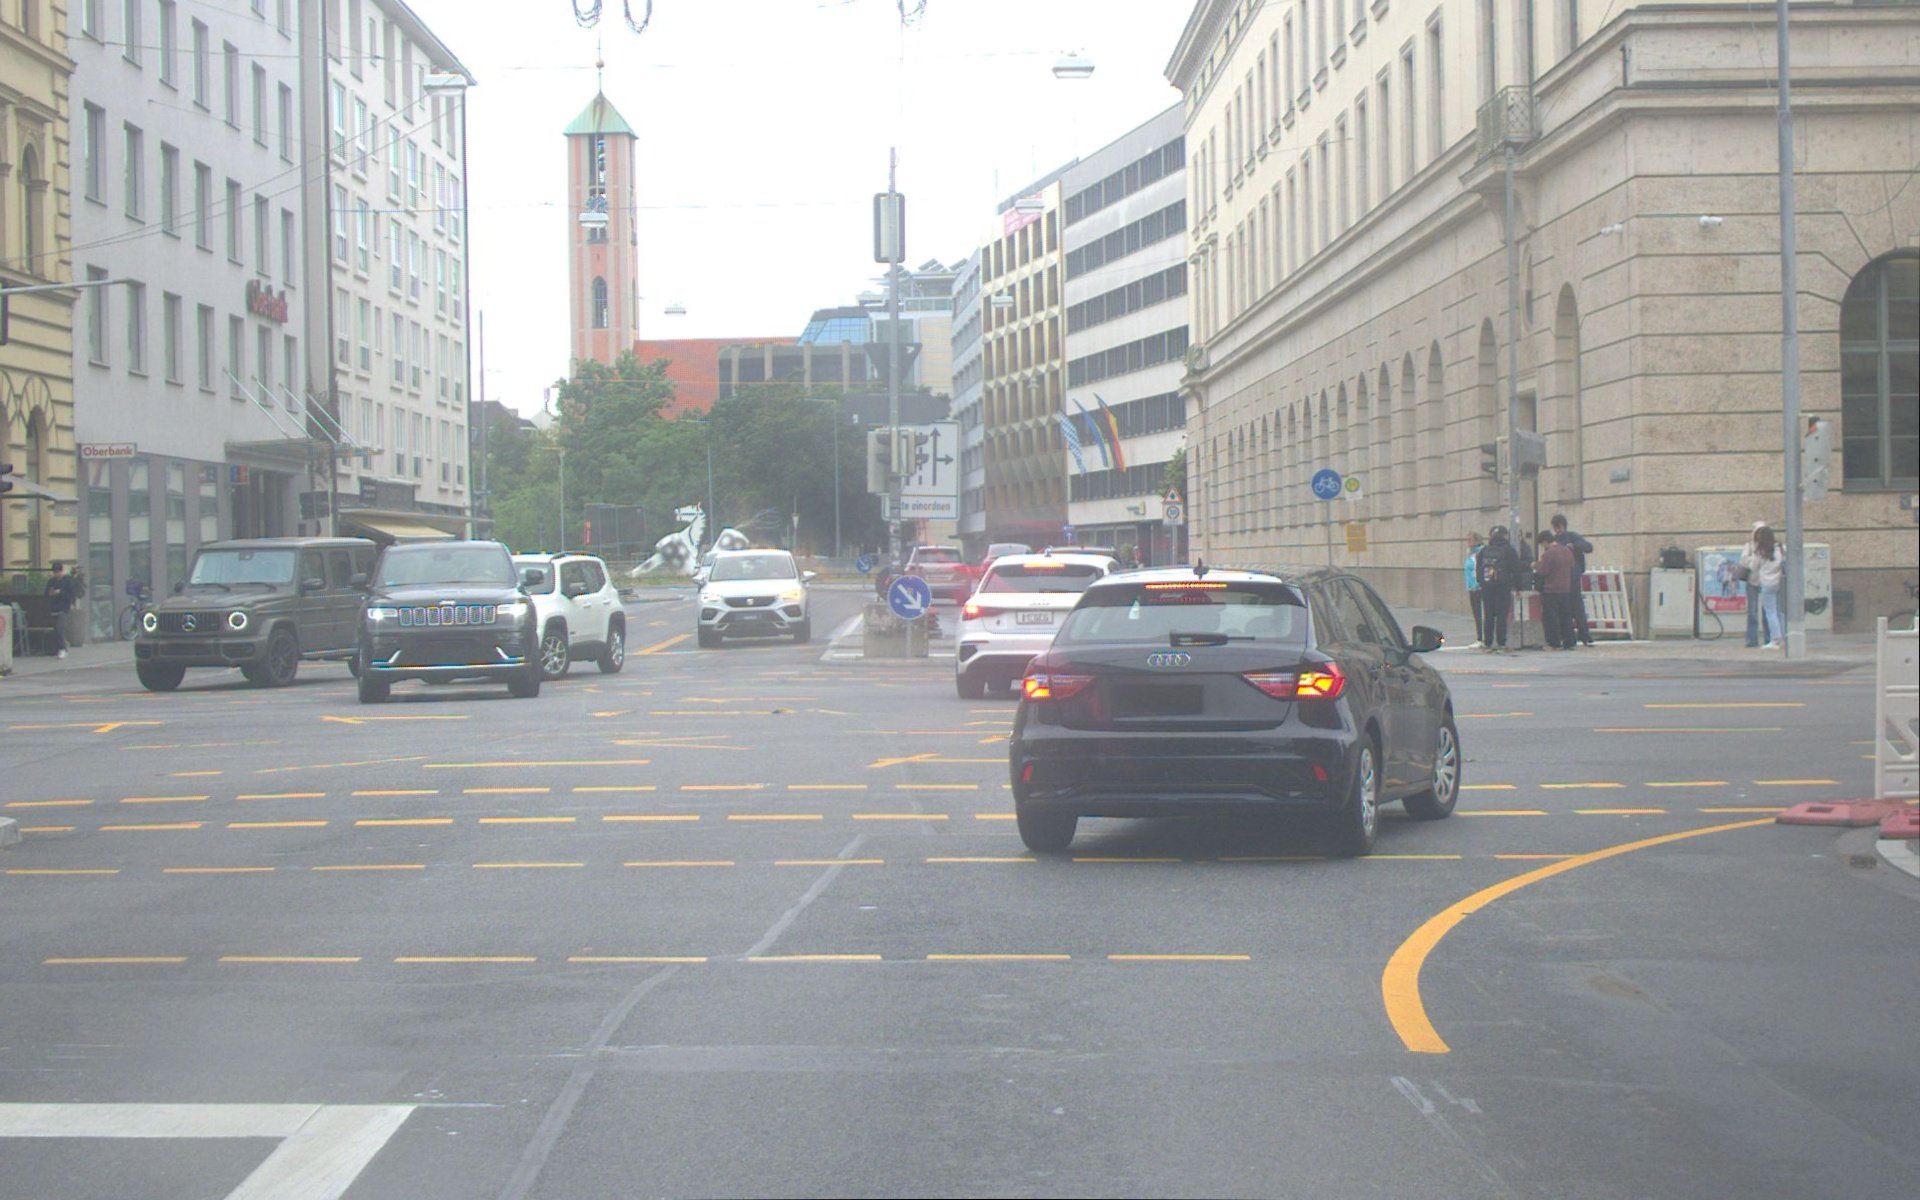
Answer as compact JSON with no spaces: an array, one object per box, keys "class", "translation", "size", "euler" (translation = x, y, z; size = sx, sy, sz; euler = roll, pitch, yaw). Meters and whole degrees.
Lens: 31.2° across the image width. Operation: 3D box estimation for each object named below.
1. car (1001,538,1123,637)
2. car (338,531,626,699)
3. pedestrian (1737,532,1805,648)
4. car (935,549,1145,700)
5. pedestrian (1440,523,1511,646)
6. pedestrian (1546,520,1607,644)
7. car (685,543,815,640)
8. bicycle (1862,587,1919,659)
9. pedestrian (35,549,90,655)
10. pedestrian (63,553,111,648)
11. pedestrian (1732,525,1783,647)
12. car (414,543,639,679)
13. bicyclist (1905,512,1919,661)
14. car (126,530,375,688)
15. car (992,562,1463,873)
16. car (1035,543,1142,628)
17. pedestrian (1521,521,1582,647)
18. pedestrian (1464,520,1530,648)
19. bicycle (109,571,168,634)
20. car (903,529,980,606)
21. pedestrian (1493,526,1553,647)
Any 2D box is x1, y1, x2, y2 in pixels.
[{"class":"car","translation":[1.698,-0.246,58.522],"size":[1.865,1.596,3.851],"euler":[-1,1,-1]},{"class":"car","translation":[-5.236,0.117,38.308],"size":[1.995,1.728,4.584],"euler":[-1,1,8]},{"class":"pedestrian","translation":[10.978,-0.141,46.573],"size":[0.817,1.552,0.667],"euler":[0,1,7]},{"class":"car","translation":[0.881,0.198,35.188],"size":[1.813,1.420,4.451],"euler":[1,1,5]},{"class":"pedestrian","translation":[7.414,-0.232,49.428],"size":[0.817,1.749,0.585],"euler":[0,1,-31]},{"class":"pedestrian","translation":[8.793,-0.269,49.024],"size":[0.584,1.749,0.818],"euler":[1,1,31]},{"class":"car","translation":[-3.492,-0.171,57.825],"size":[1.993,1.518,4.233],"euler":[-1,1,-1]},{"class":"bicycle","translation":[12.317,0.288,42.842],"size":[1.972,0.876,0.661],"euler":[0,1,2]},{"class":"pedestrian","translation":[-15.068,0.028,57.732],"size":[0.737,1.766,0.736],"euler":[0,1,-1]},{"class":"pedestrian","translation":[-16.461,0.001,64.840],"size":[0.737,1.766,0.736],"euler":[0,1,-1]},{"class":"pedestrian","translation":[10.975,-0.203,47.305],"size":[0.616,1.666,0.542],"euler":[0,1,7]},{"class":"car","translation":[-5.693,0.105,45.643],"size":[1.794,1.672,4.231],"euler":[-1,1,9]},{"class":"bicyclist","translation":[12.238,-0.172,42.837],"size":[0.744,1.836,0.660],"euler":[0,1,2]},{"class":"car","translation":[-9.559,0.071,46.684],"size":[2.238,2.007,4.450],"euler":[-1,1,3]},{"class":"car","translation":[1.507,0.512,17.863],"size":[1.864,1.383,3.998],"euler":[0,1,13]},{"class":"car","translation":[2.508,-0.311,67.732],"size":[1.865,1.596,3.851],"euler":[-1,1,-1]},{"class":"pedestrian","translation":[8.300,-0.234,48.248],"size":[0.584,1.749,0.818],"euler":[1,1,31]},{"class":"pedestrian","translation":[7.468,-0.229,47.808],"size":[0.818,1.749,0.679],"euler":[1,1,16]},{"class":"bicycle","translation":[-16.600,0.042,69.520],"size":[0.598,1.238,2.199],"euler":[0,1,2]},{"class":"car","translation":[-0.536,-0.891,93.118],"size":[1.993,2.007,4.000],"euler":[-1,1,-1]},{"class":"pedestrian","translation":[8.211,-0.207,50.146],"size":[0.818,1.749,0.585],"euler":[0,1,14]}]
